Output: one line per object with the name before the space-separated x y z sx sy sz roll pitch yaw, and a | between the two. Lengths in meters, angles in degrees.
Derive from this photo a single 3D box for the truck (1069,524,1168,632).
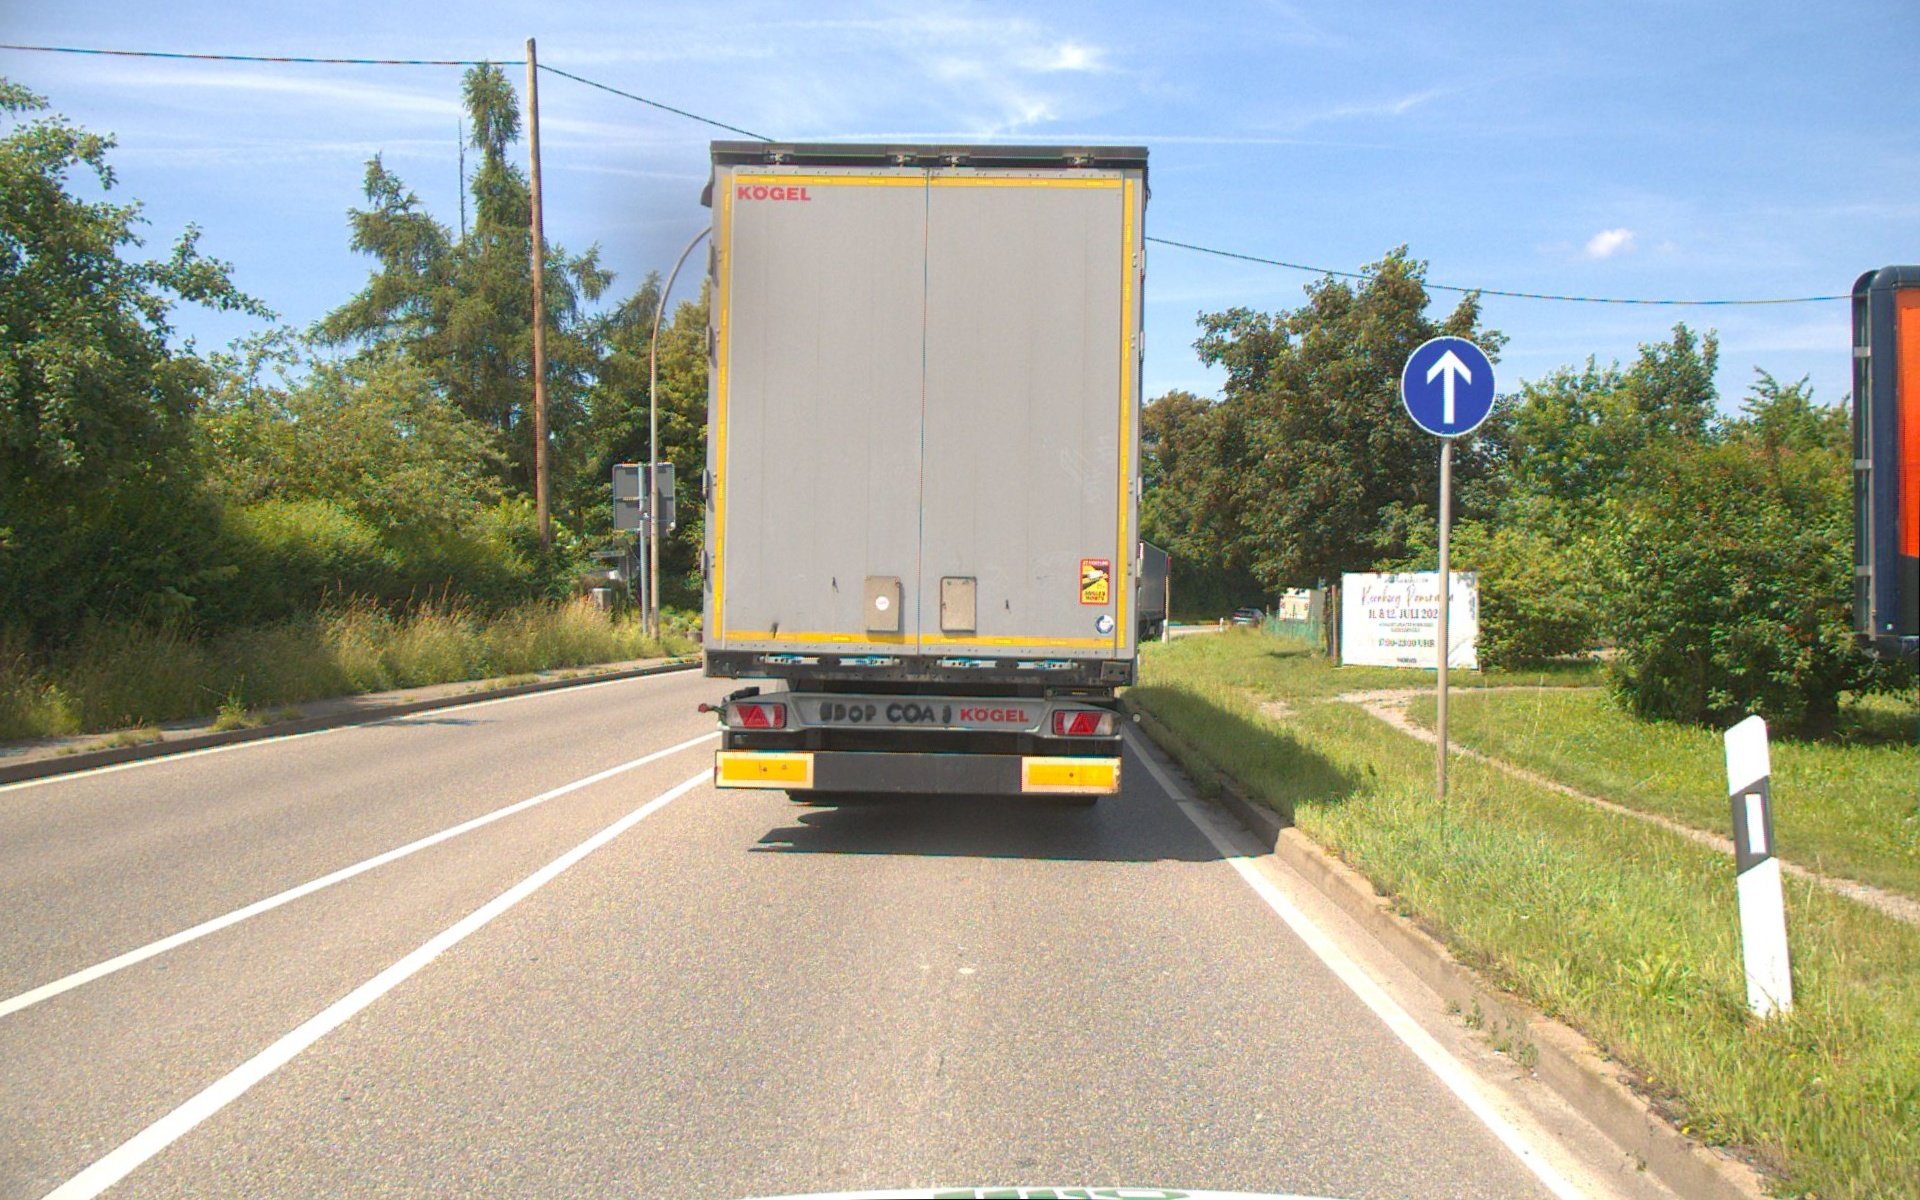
truck | 7.287 -0.971 75.022 3.852 4.655 7.158 0 0 10

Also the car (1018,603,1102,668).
car | 2.621 0.867 42.563 1.951 1.557 4.003 1 0 6

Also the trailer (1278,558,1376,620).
trailer | 29.982 -0.887 134.300 5.074 4.709 15.892 1 1 23

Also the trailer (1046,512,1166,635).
trailer | 6.239 -1.069 68.400 3.808 4.600 12.725 0 1 10

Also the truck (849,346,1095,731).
truck | 0.349 -0.723 21.369 2.688 4.238 6.146 1 1 4

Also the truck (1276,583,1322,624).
truck | 24.302 0.233 118.419 2.371 2.888 5.412 0 1 21

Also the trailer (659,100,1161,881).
trailer | 0.029 -0.683 15.169 2.728 4.278 12.116 1 1 3

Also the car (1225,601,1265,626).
car | 18.455 0.871 106.882 1.803 1.512 4.000 0 1 21
